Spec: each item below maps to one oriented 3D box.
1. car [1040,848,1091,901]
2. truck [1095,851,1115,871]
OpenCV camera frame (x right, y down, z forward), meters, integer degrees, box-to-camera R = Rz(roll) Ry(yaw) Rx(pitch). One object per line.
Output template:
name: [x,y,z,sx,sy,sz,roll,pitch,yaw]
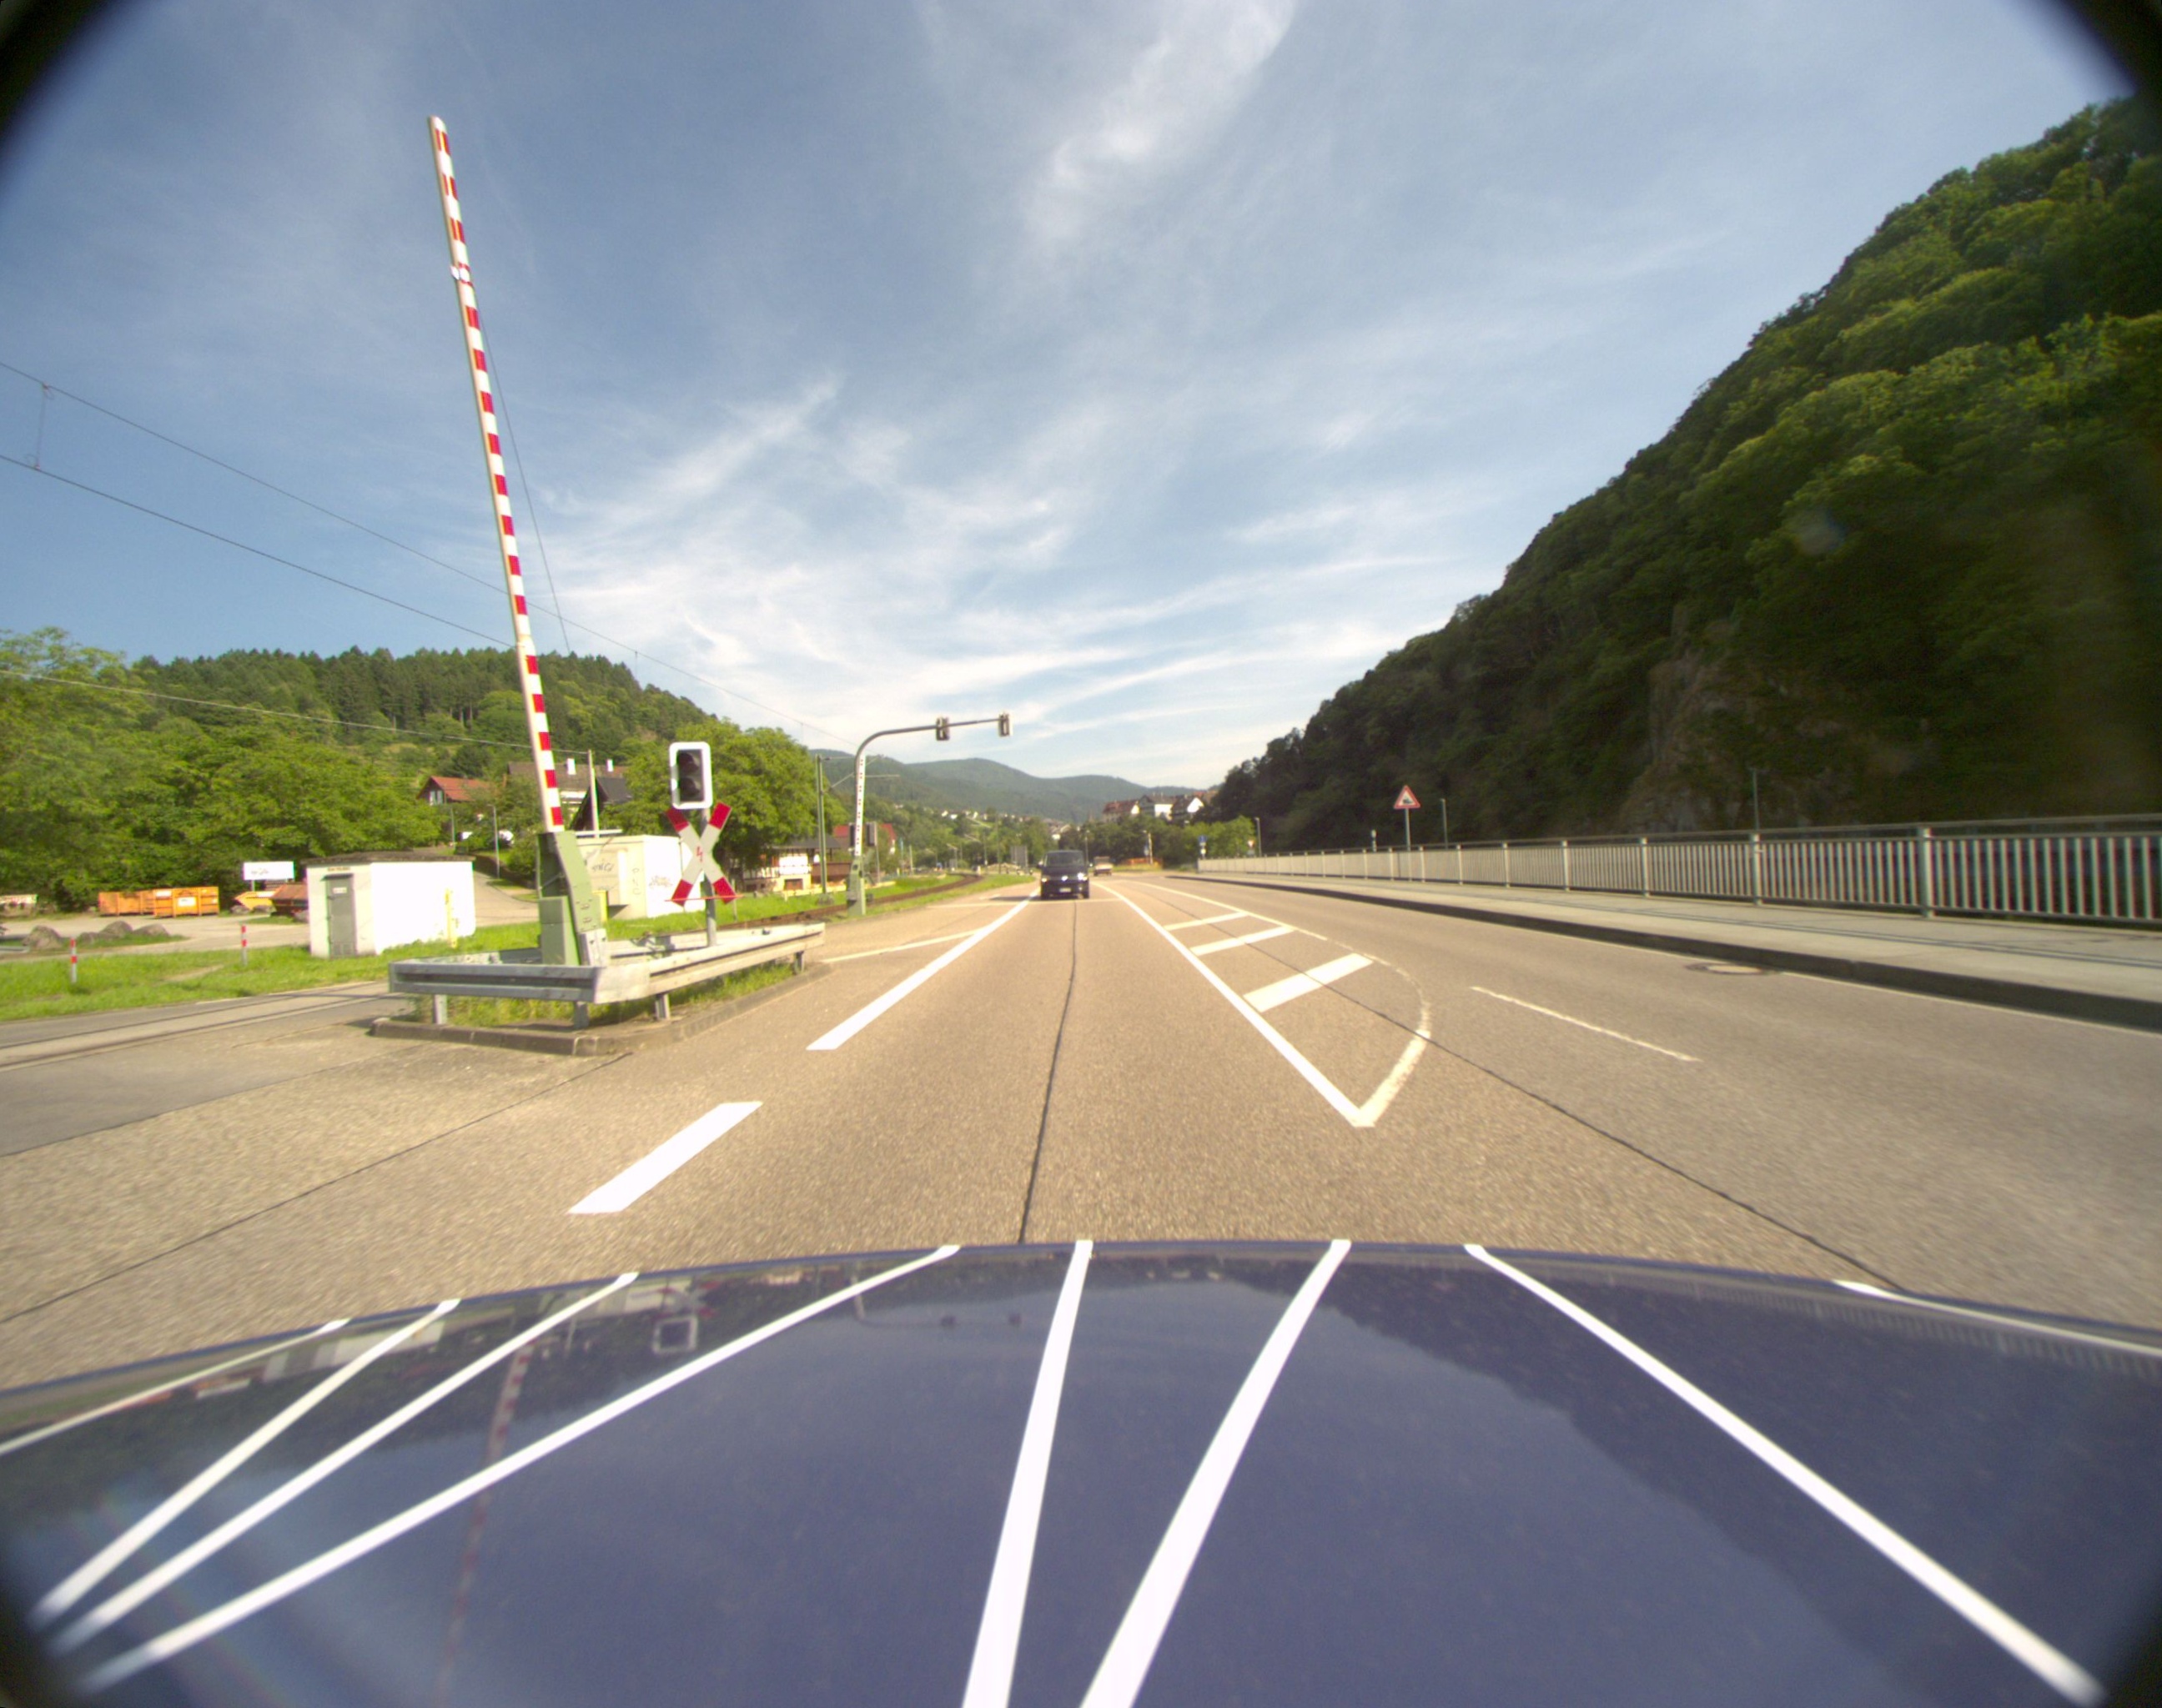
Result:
car: [-0.654,0.802,31.059,1.865,1.936,4.638,-2,-1,-2]
truck: [3.072,0.964,99.008,2.170,2.373,5.853,-4,0,-2]
